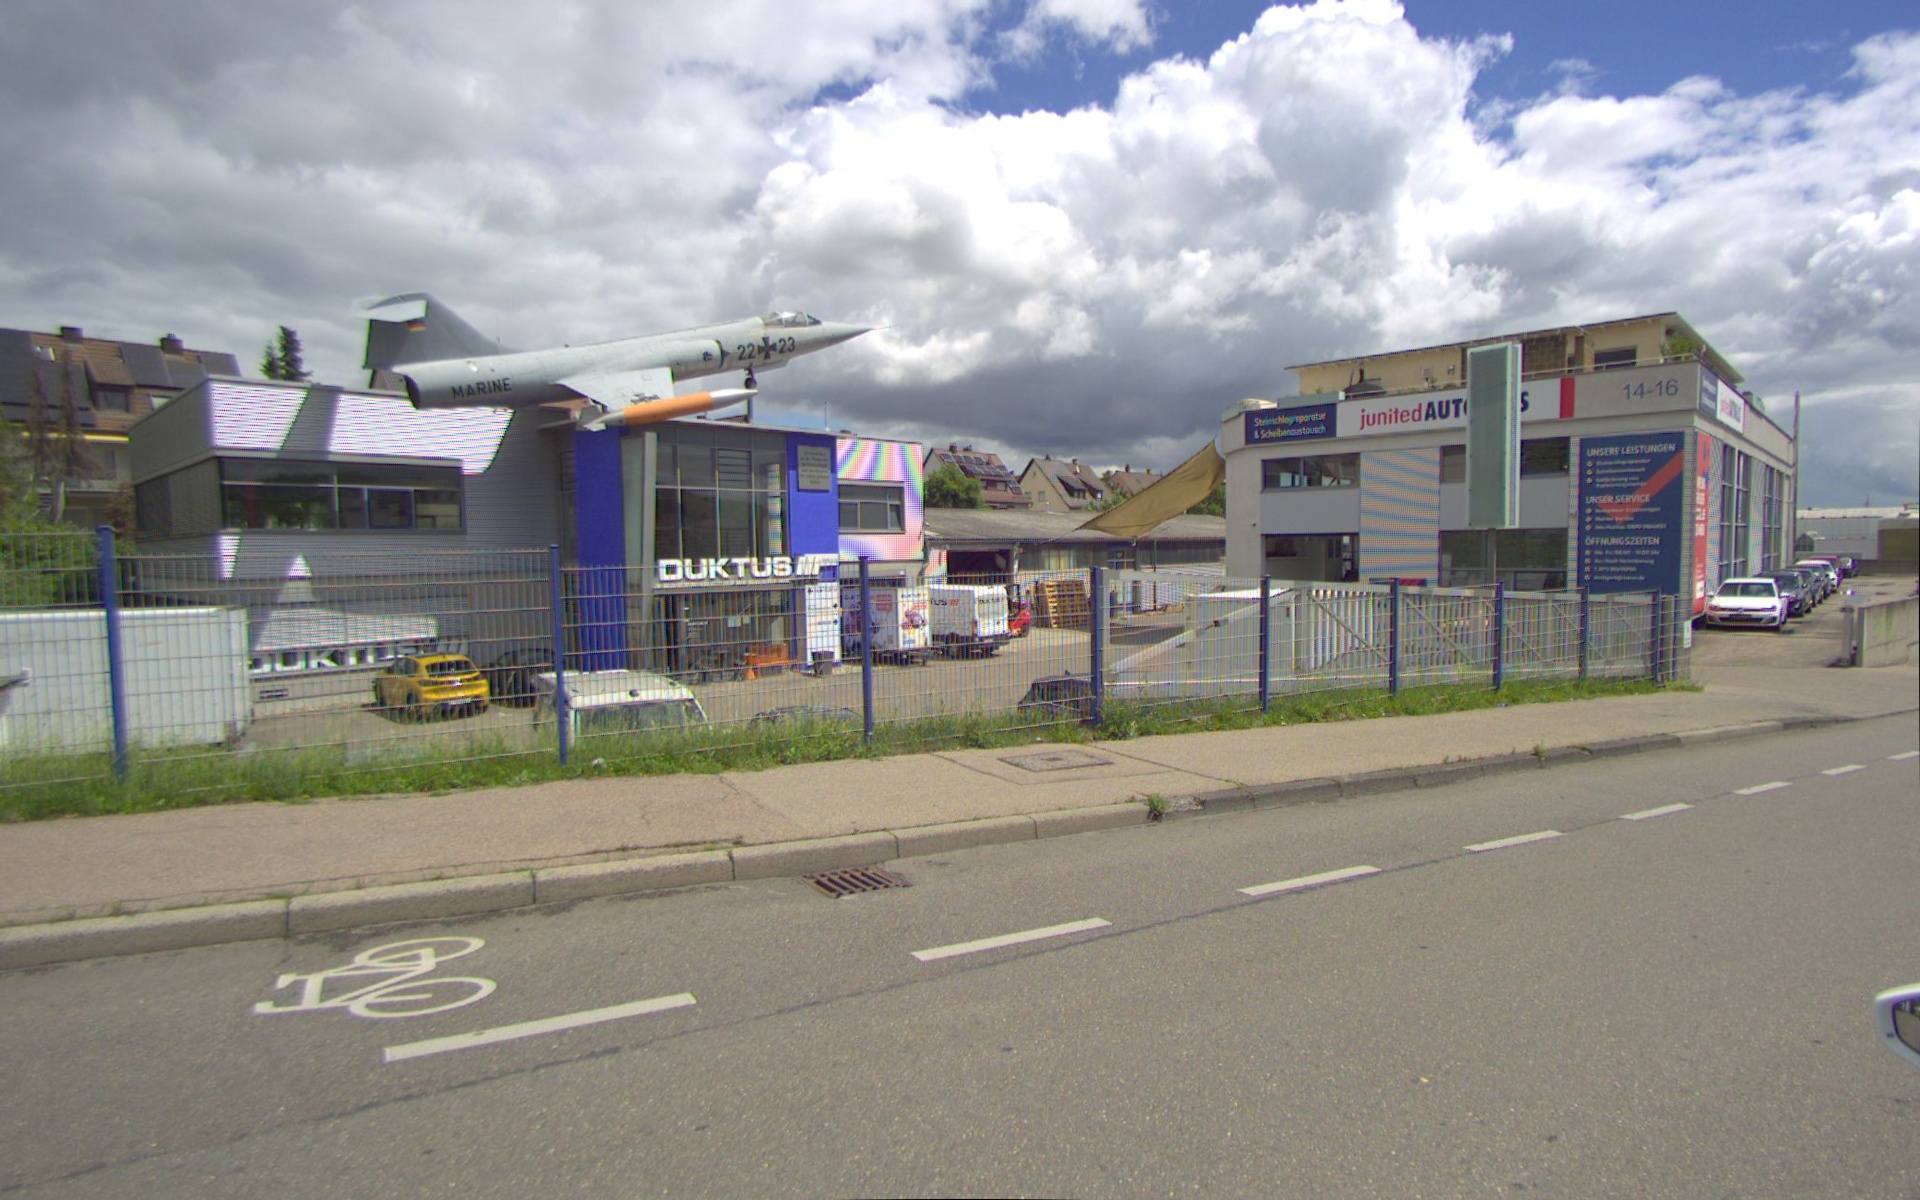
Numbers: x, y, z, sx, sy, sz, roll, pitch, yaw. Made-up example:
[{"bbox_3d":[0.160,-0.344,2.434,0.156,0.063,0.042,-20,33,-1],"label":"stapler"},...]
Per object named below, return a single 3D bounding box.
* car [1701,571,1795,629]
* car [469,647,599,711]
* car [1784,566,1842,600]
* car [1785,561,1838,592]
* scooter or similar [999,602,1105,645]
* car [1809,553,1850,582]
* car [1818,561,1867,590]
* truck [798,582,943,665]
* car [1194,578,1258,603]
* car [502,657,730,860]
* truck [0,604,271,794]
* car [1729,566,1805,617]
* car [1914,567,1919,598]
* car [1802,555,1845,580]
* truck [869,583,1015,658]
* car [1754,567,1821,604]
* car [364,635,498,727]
[{"bbox_3d":[24.205,0.025,30.794,1.828,1.672,3.974,0,0,45],"label":"car"},{"bbox_3d":[-11.511,2.052,27.031,1.865,1.316,3.947,-3,2,-45],"label":"car"},{"bbox_3d":[36.566,-0.690,43.038,1.653,1.341,3.694,0,0,45],"label":"car"},{"bbox_3d":[40.954,-1.094,48.286,1.653,1.341,3.694,0,0,45],"label":"car"},{"bbox_3d":[3.749,0.929,41.189,3.937,1.684,1.992,0,0,38],"label":"scooter or similar"},{"bbox_3d":[56.176,-2.108,64.897,1.684,1.753,3.494,5,4,44],"label":"car"},{"bbox_3d":[45.267,-1.234,51.496,1.653,1.341,3.694,0,0,45],"label":"car"},{"bbox_3d":[-3.324,0.801,36.190,2.162,2.742,5.725,0,0,-43],"label":"truck"},{"bbox_3d":[15.493,-0.520,58.337,1.972,1.372,3.977,2,1,43],"label":"car"},{"bbox_3d":[-4.754,1.911,13.515,1.979,2.040,3.963,1,0,-33],"label":"car"},{"bbox_3d":[-15.307,1.559,16.979,5.812,2.912,2.446,1,1,-30],"label":"truck"},{"bbox_3d":[27.688,-0.248,34.429,1.678,1.651,3.694,0,0,45],"label":"car"},{"bbox_3d":[42.722,-0.775,43.603,3.691,1.341,1.654,-1,2,-43],"label":"car"},{"bbox_3d":[50.564,-1.874,58.793,1.653,1.341,3.694,0,0,45],"label":"car"},{"bbox_3d":[-0.776,0.721,37.606,2.192,2.609,5.725,0,0,-43],"label":"truck"},{"bbox_3d":[32.104,-0.529,38.946,1.703,1.341,3.694,0,0,45],"label":"car"},{"bbox_3d":[-13.379,1.944,25.309,1.865,1.551,3.946,-6,9,-44],"label":"car"}]
